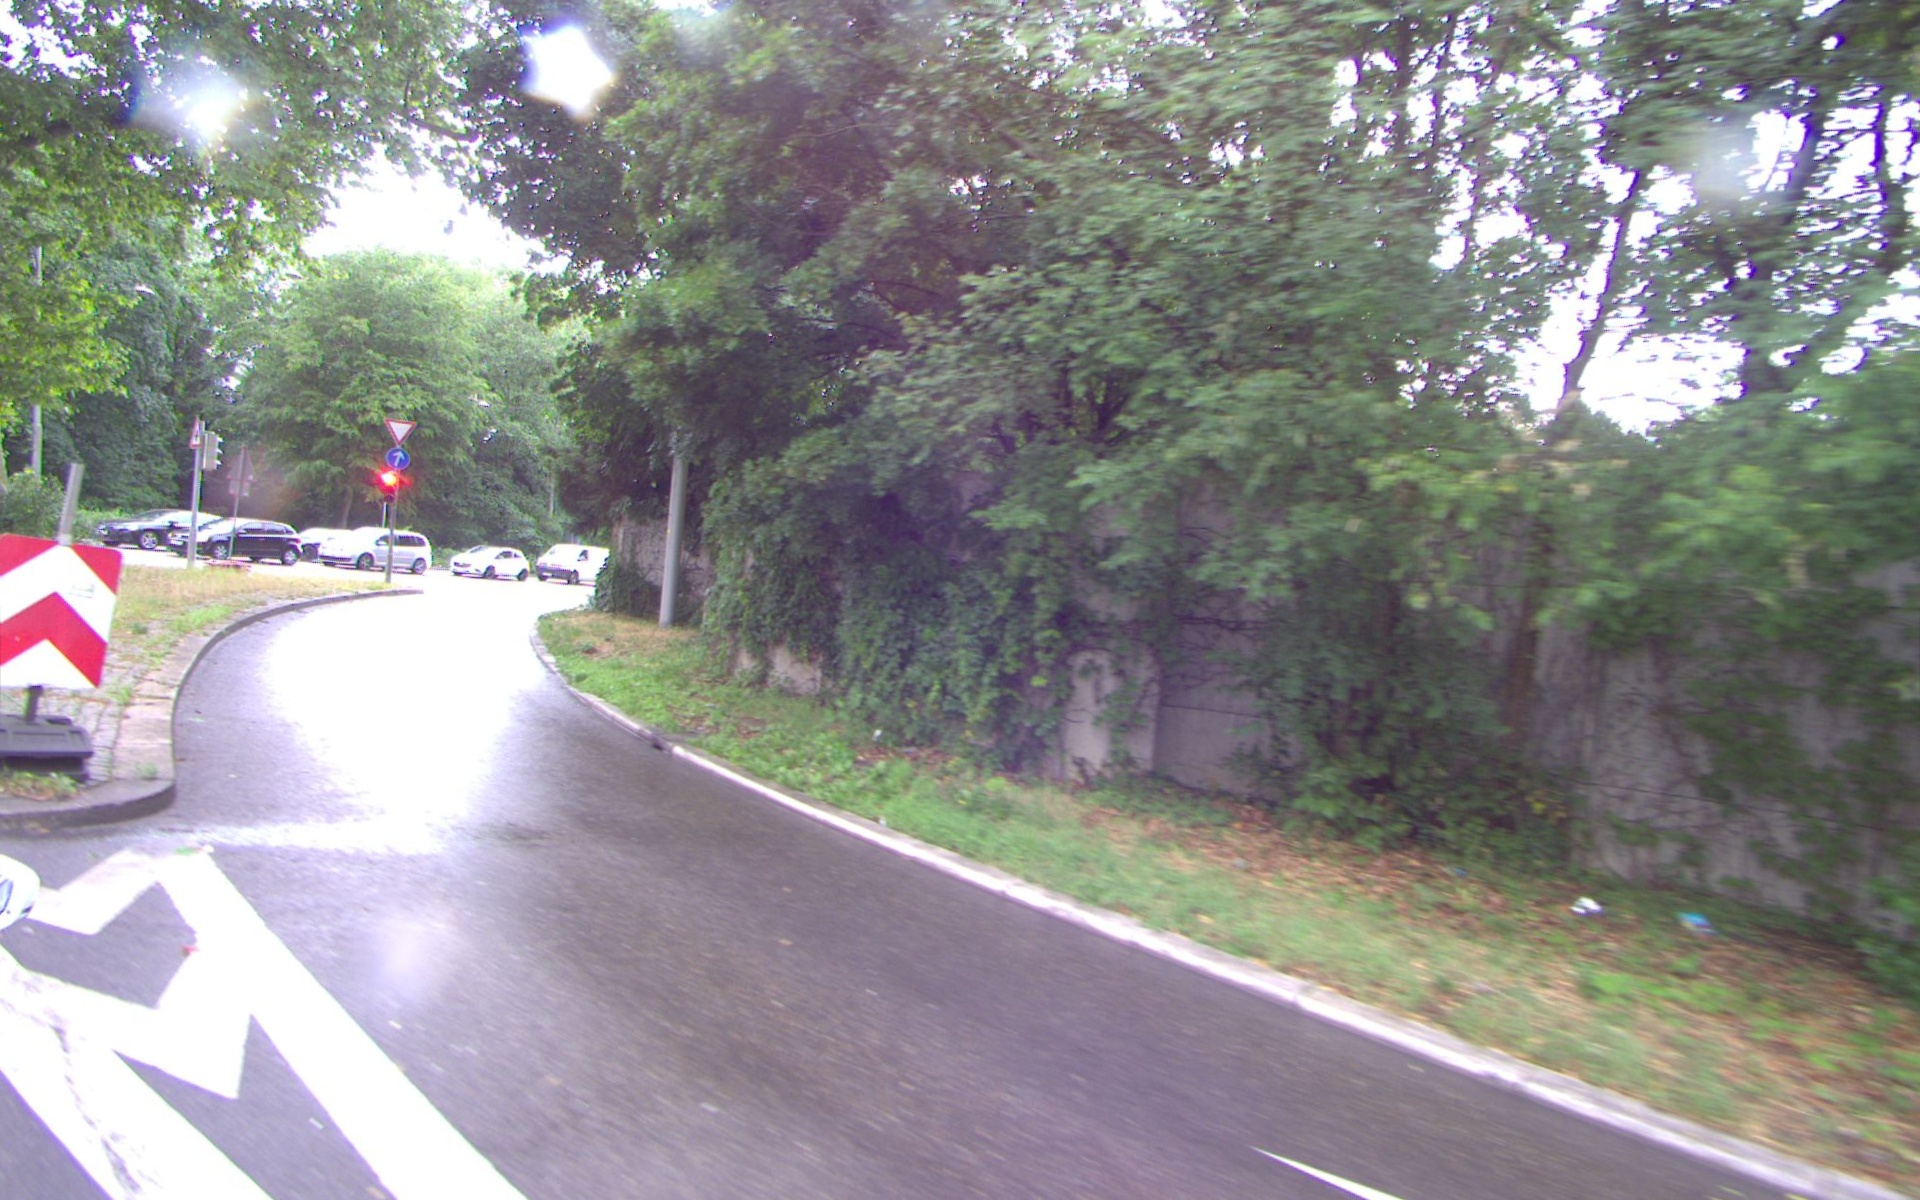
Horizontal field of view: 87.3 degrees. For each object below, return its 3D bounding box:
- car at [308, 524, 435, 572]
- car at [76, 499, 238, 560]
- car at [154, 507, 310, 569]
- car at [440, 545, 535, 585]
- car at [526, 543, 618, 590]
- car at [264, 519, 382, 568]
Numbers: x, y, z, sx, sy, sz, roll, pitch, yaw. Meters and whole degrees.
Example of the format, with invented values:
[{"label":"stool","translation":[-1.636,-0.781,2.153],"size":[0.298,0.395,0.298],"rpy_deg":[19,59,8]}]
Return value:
[{"label":"car","translation":[-22.641,-1.955,38.917],"size":[1.740,1.506,4.272],"rpy_deg":[6,1,12]},{"label":"car","translation":[-27.386,-2.360,34.481],"size":[1.843,1.504,4.002],"rpy_deg":[6,-1,12]},{"label":"car","translation":[-23.825,-1.991,33.105],"size":[1.641,1.503,3.867],"rpy_deg":[6,-1,17]},{"label":"car","translation":[-21.230,-1.544,45.361],"size":[1.740,1.506,3.998],"rpy_deg":[6,2,12]},{"label":"car","translation":[-19.675,-1.653,51.316],"size":[1.872,1.946,4.862],"rpy_deg":[6,0,12]},{"label":"car","translation":[-25.553,-2.231,40.529],"size":[1.712,1.504,3.837],"rpy_deg":[7,0,12]}]
